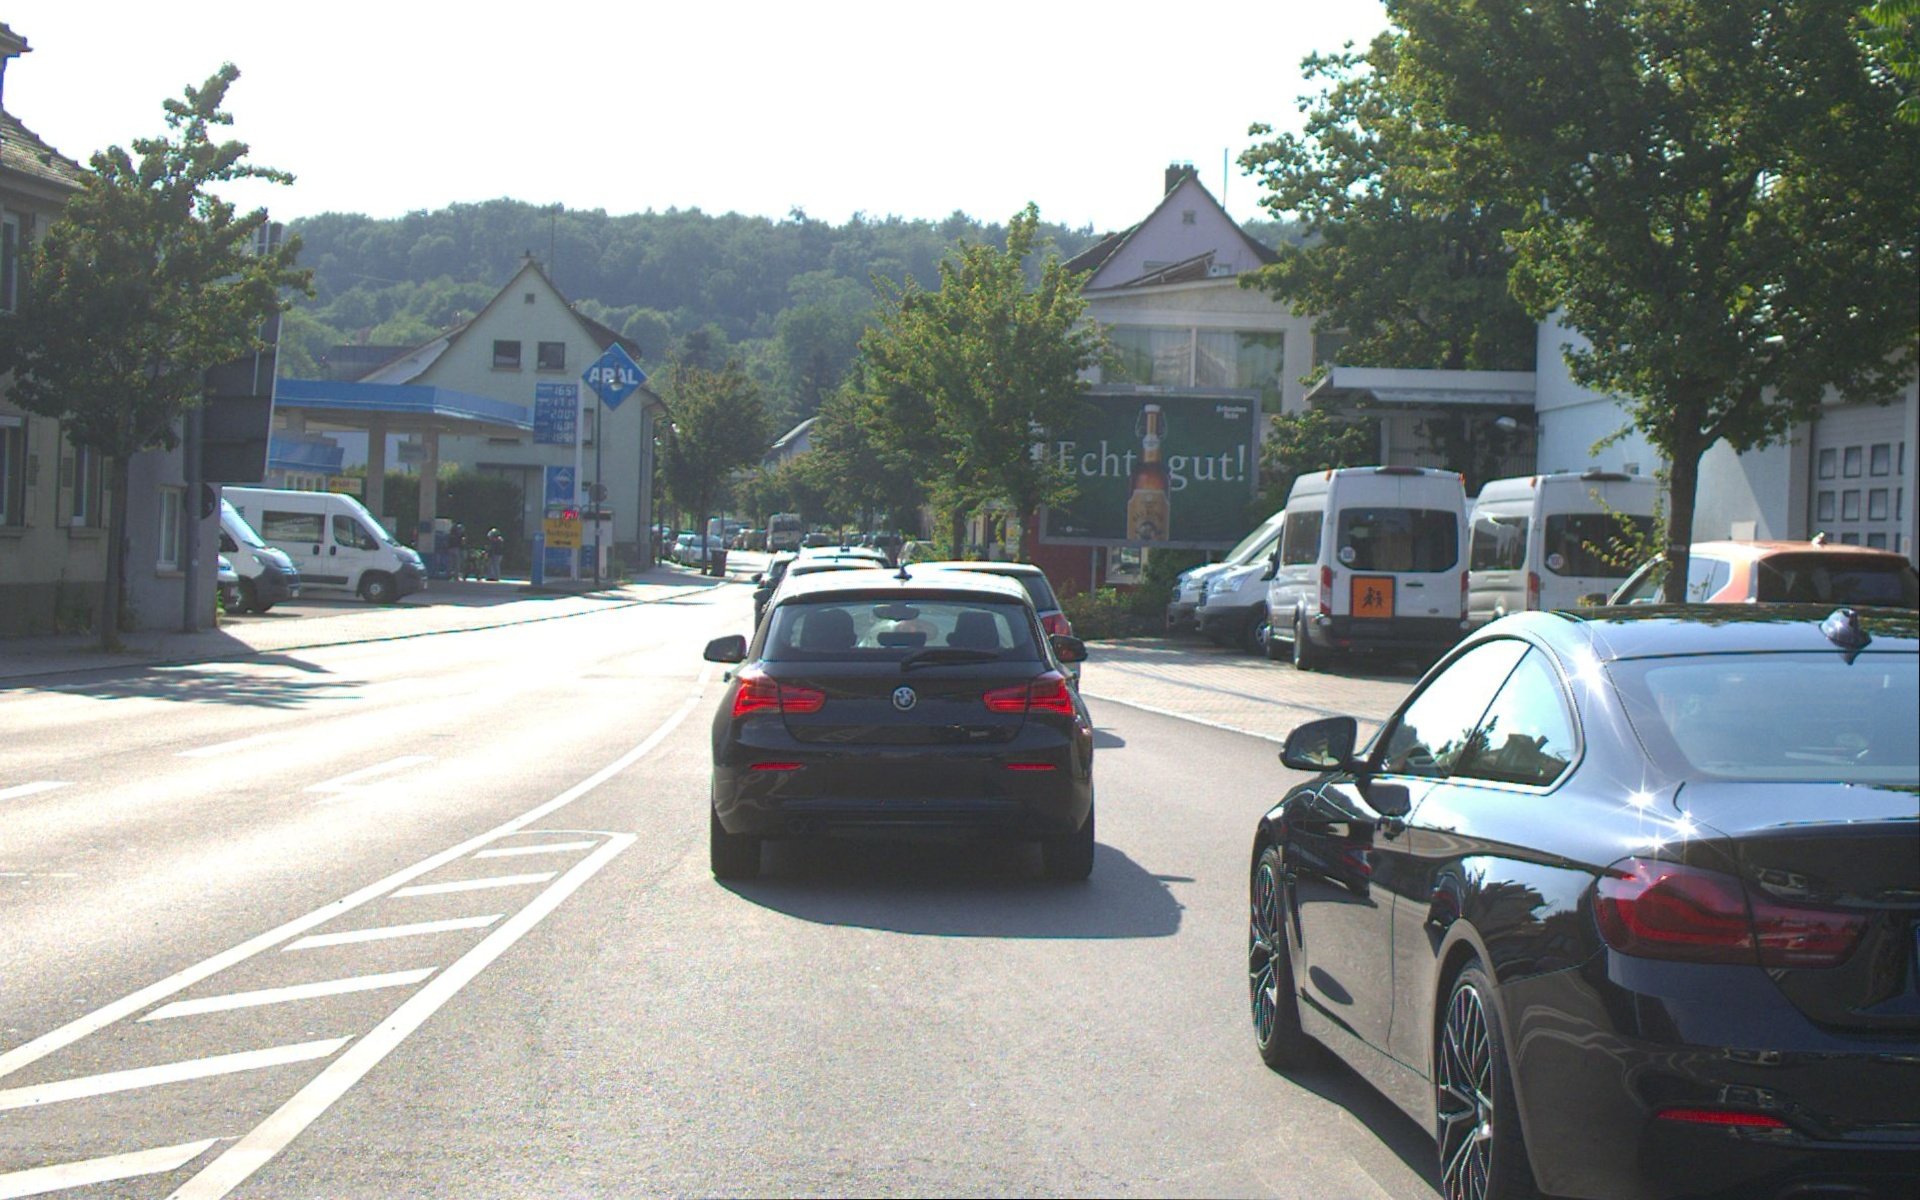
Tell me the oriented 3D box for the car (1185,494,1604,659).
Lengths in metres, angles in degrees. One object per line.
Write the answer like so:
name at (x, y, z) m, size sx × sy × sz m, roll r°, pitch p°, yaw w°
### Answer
car at (6.598, -0.367, 52.620) m, size 6.043 × 2.355 × 2.044 m, roll 1°, pitch 1°, yaw -3°

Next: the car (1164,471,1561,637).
car at (6.457, -0.745, 55.561) m, size 6.043 × 2.507 × 2.044 m, roll 1°, pitch 1°, yaw -3°

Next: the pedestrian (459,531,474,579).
pedestrian at (-15.745, -1.437, 109.639) m, size 0.407 × 1.541 × 0.433 m, roll 1°, pitch 1°, yaw -4°

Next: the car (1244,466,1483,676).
car at (5.488, -0.452, 47.684) m, size 2.149 × 2.671 × 6.604 m, roll 1°, pitch 1°, yaw -3°

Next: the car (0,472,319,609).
car at (-16.072, -1.211, 68.884) m, size 5.920 × 2.471 × 2.193 m, roll 2°, pitch 1°, yaw 3°

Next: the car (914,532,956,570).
car at (-1.051, -2.070, 144.070) m, size 1.596 × 1.480 × 3.475 m, roll 2°, pitch 1°, yaw -3°

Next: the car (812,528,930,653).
car at (-1.306, -0.176, 51.588) m, size 1.603 × 1.761 × 3.411 m, roll 1°, pitch 1°, yaw 1°

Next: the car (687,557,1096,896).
car at (-0.312, 0.531, 16.781) m, size 1.771 × 1.451 × 3.516 m, roll 1°, pitch 1°, yaw 0°

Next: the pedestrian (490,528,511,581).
pedestrian at (-14.654, -1.448, 109.559) m, size 0.610 × 1.664 × 0.442 m, roll 1°, pitch 1°, yaw -4°

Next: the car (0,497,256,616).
car at (-15.668, -0.826, 63.226) m, size 4.976 × 1.992 × 1.935 m, roll 2°, pitch 1°, yaw 1°

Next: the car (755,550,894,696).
car at (-1.689, 0.241, 42.091) m, size 1.591 × 1.594 × 3.894 m, roll 1°, pitch 2°, yaw -3°

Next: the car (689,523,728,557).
car at (-11.479, -2.732, 156.940) m, size 1.596 × 1.480 × 3.475 m, roll 2°, pitch 1°, yaw -3°

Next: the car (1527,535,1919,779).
car at (5.882, 0.359, 25.806) m, size 1.834 × 1.643 × 4.540 m, roll 1°, pitch 1°, yaw -9°

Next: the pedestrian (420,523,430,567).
pedestrian at (-16.865, -1.742, 108.335) m, size 0.262 × 1.378 × 0.288 m, roll 1°, pitch 1°, yaw -13°

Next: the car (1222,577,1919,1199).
car at (1.794, 0.677, 8.311) m, size 1.699 × 1.364 × 4.263 m, roll 1°, pitch 1°, yaw -4°

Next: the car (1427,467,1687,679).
car at (8.208, -0.428, 47.964) m, size 2.111 × 2.712 × 6.444 m, roll 1°, pitch 1°, yaw -3°

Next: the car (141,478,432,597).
car at (-15.370, -1.437, 78.685) m, size 6.158 × 2.436 × 2.250 m, roll 2°, pitch 1°, yaw -1°

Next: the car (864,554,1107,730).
car at (0.173, 0.336, 30.713) m, size 1.753 × 1.409 × 3.422 m, roll 1°, pitch 1°, yaw -6°
